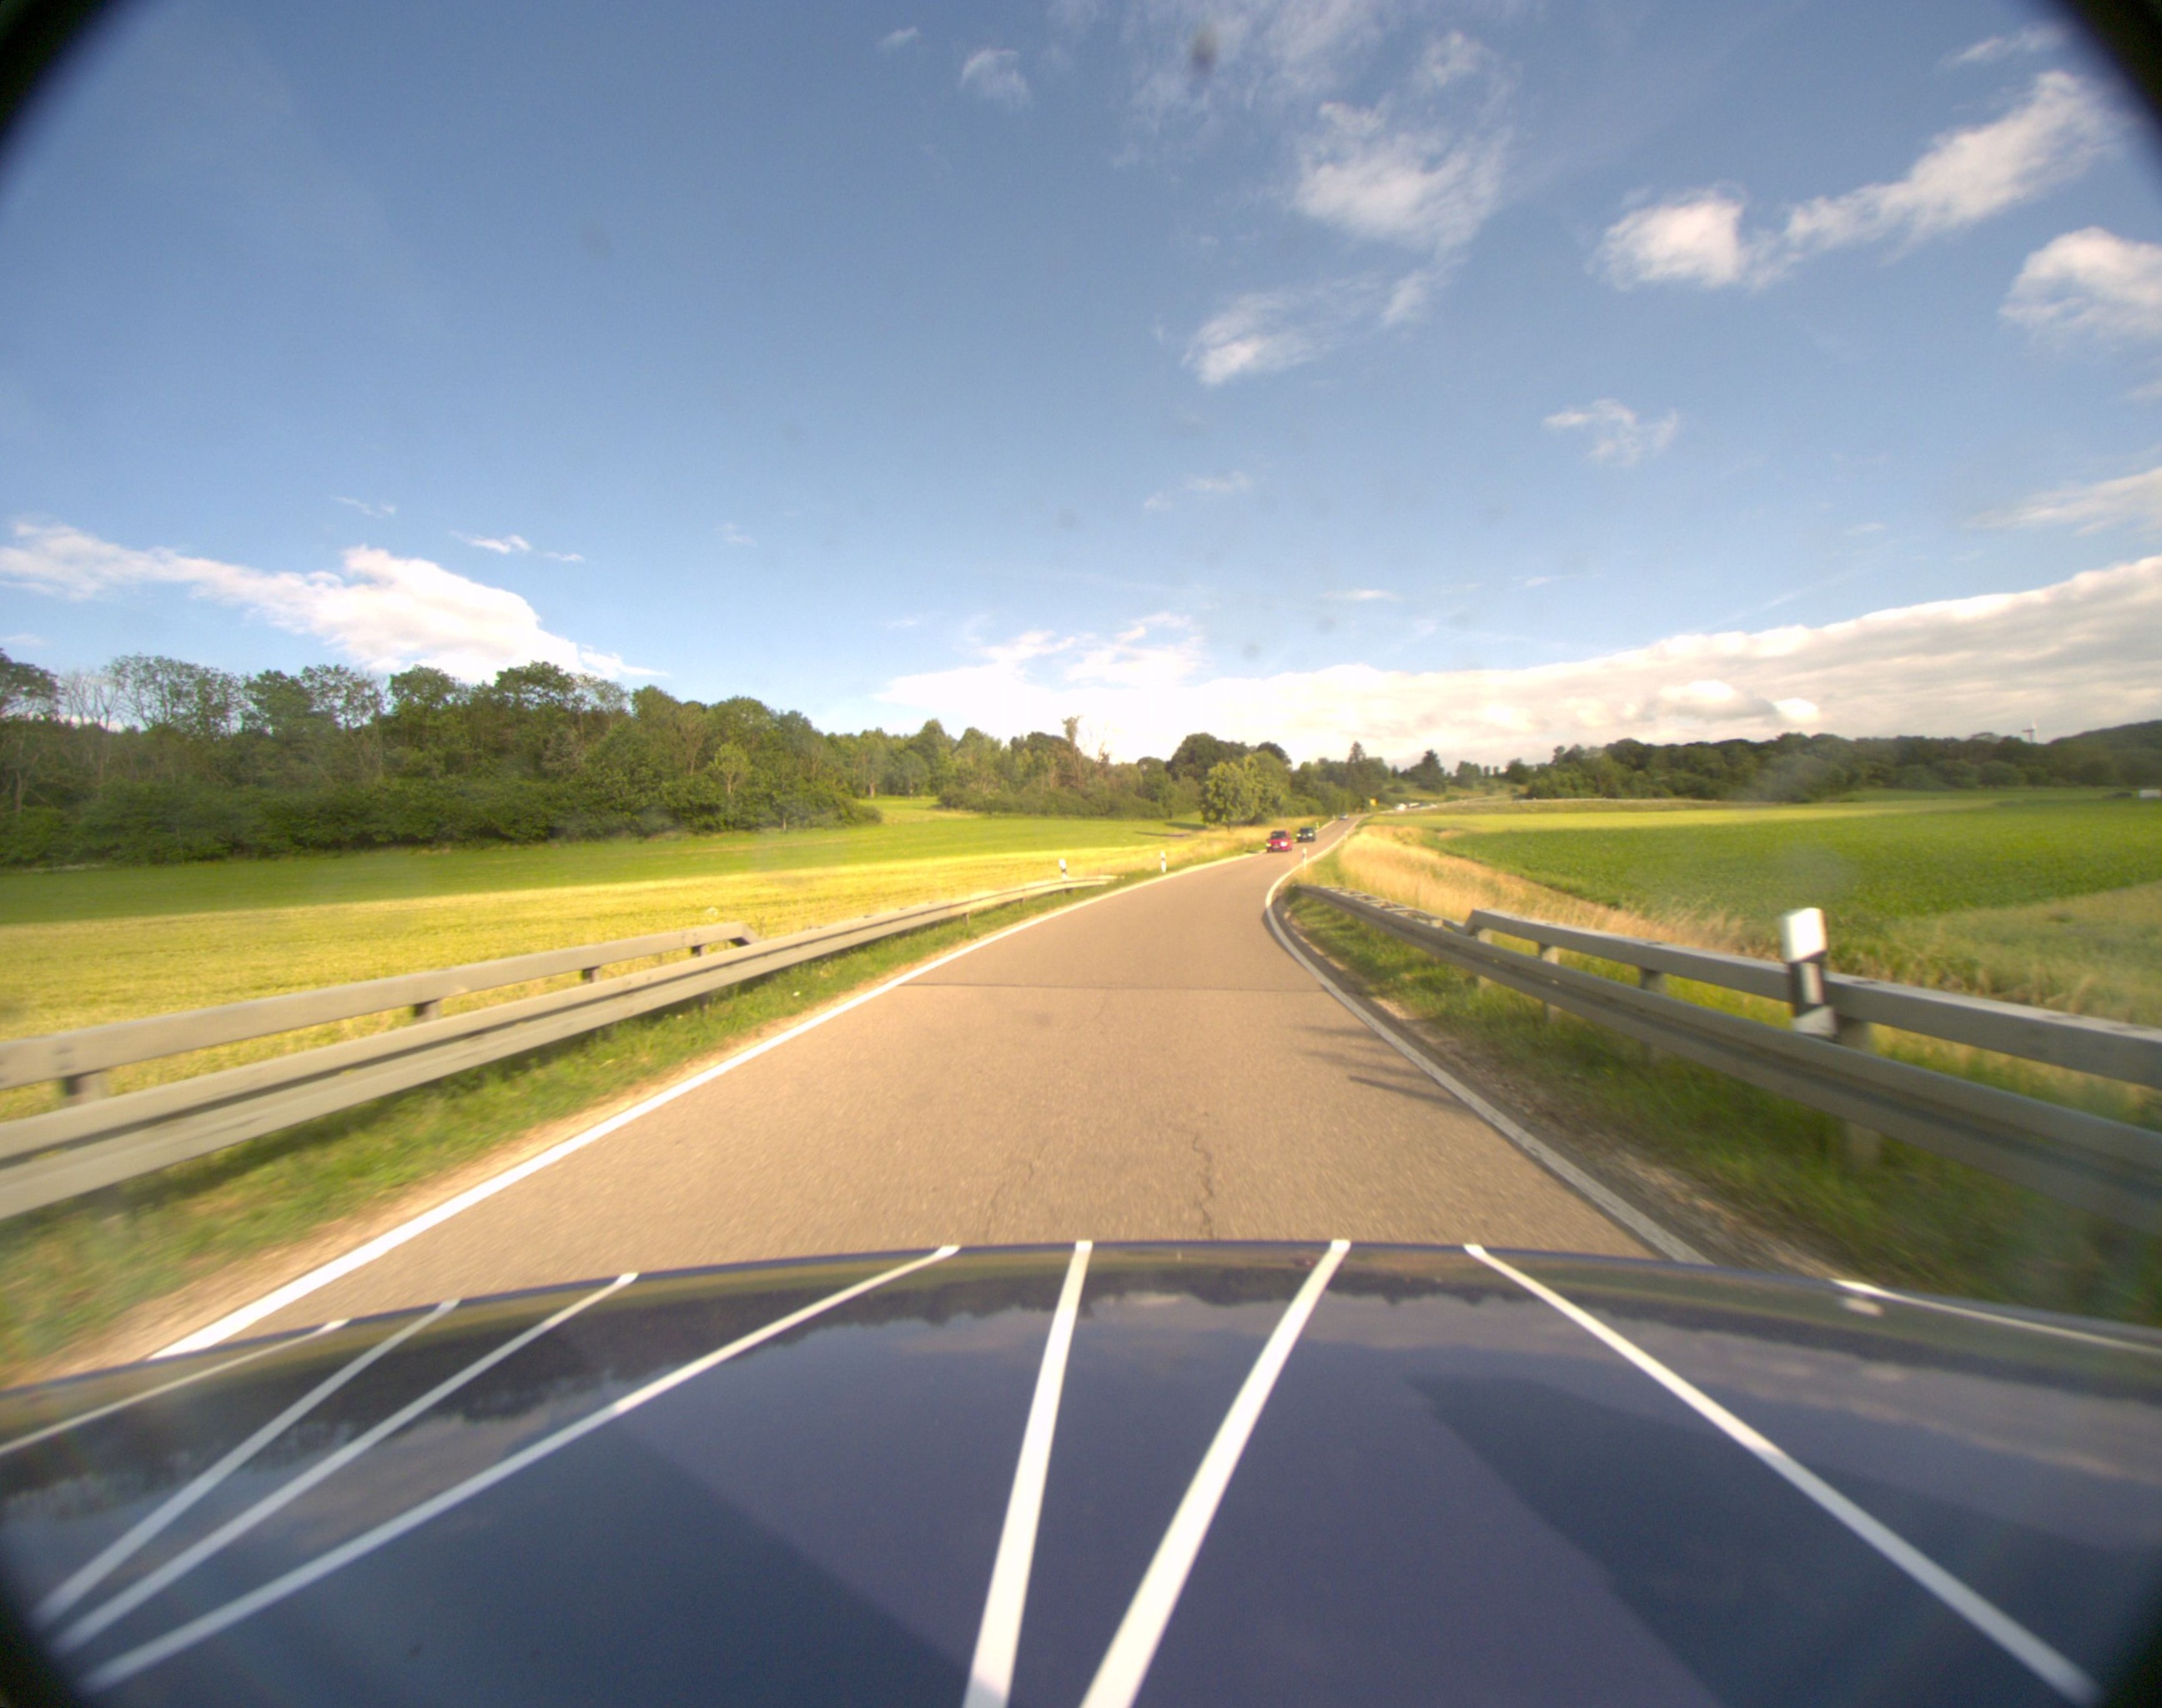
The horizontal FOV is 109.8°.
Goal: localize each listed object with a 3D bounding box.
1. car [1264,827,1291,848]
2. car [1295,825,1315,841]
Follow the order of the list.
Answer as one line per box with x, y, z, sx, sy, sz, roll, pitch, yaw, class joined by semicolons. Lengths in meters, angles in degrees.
16.588;-1.424;64.129;1.818;1.646;4.004;-1;3;19;car
25.180;-2.392;85.184;1.818;1.602;4.004;-1;2;21;car
